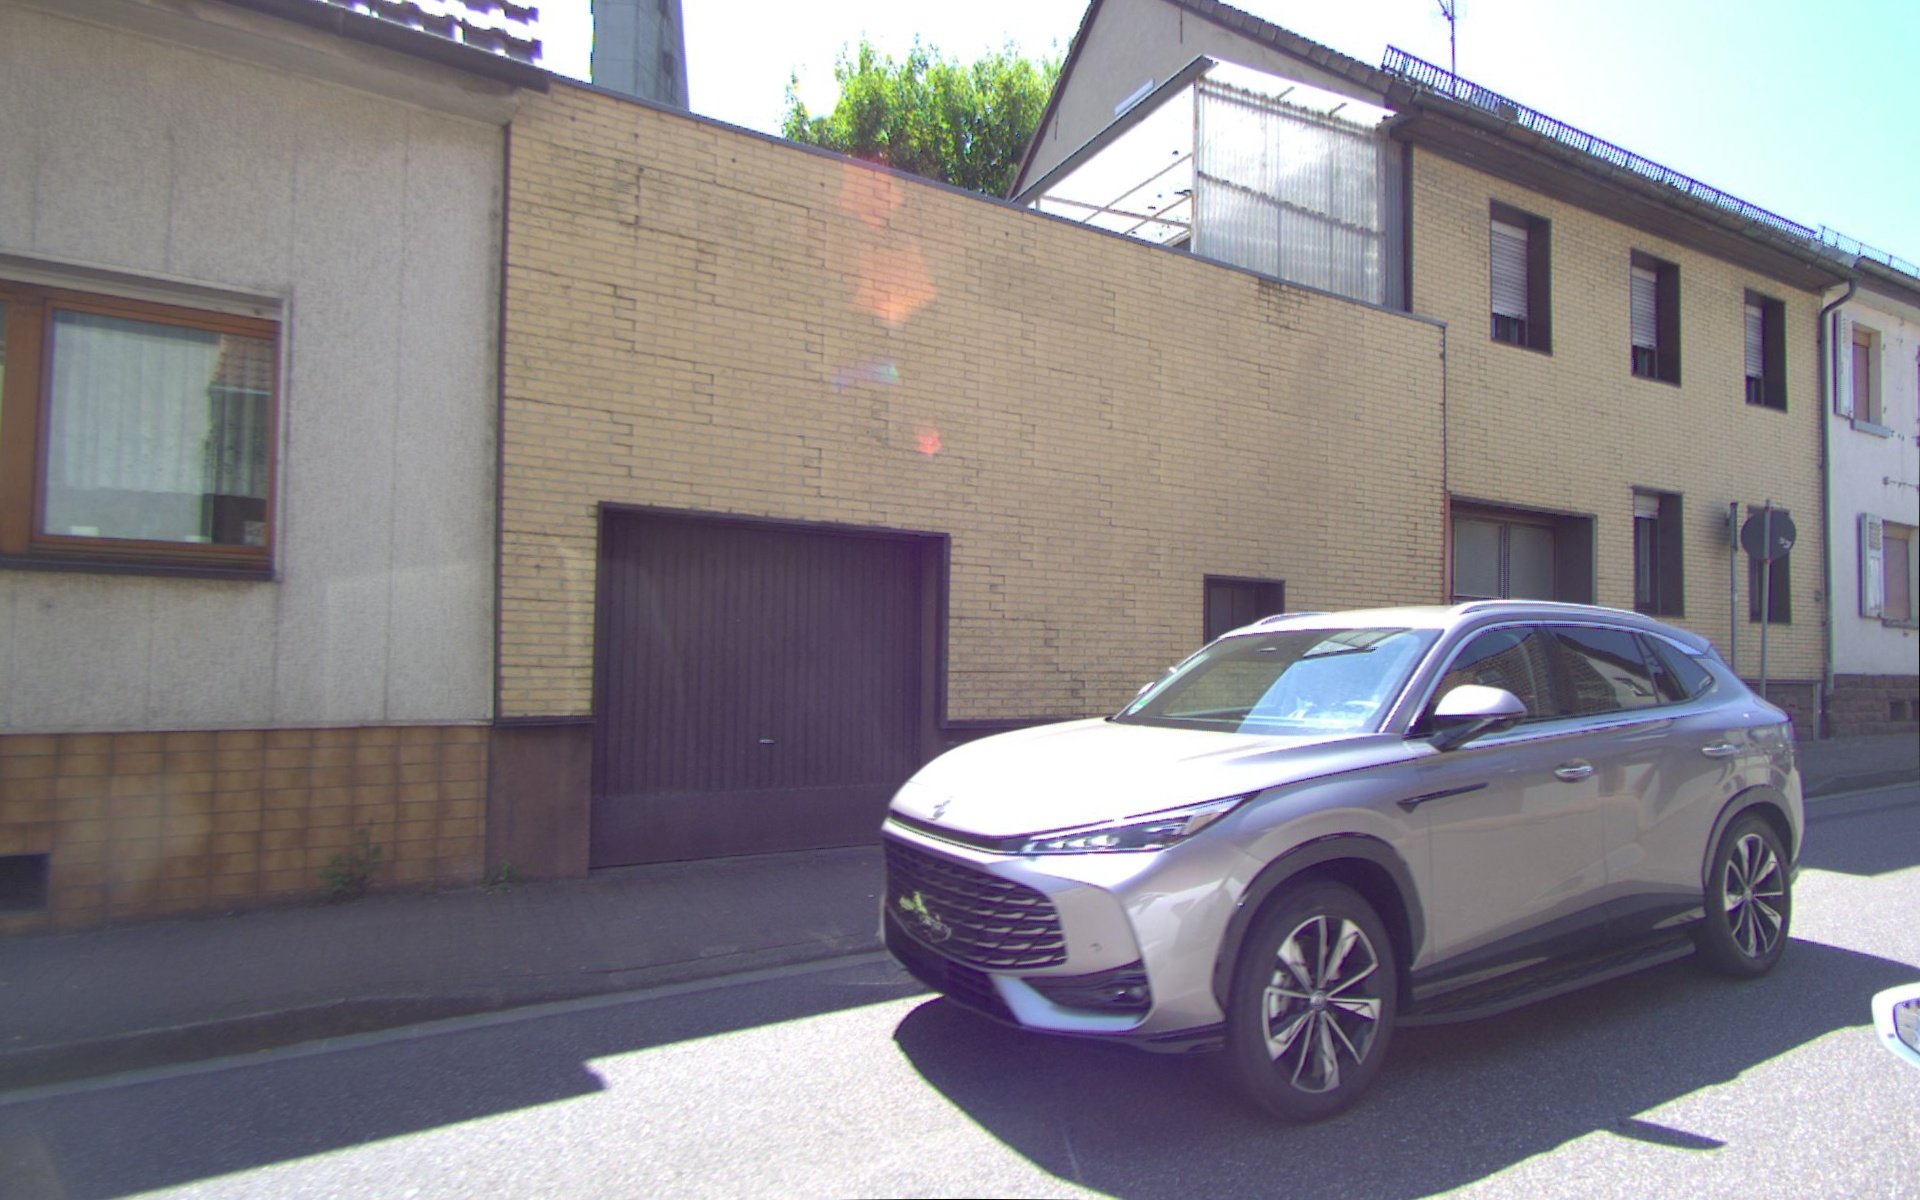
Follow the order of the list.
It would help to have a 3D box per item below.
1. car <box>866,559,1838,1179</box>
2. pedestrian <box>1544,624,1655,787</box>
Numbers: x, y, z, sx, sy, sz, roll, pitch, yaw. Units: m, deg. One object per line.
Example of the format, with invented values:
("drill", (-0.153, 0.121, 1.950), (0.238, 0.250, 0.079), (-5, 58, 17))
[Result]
("car", (1.871, 0.791, 4.517), (4.209, 1.643, 1.821), (2, -2, -29))
("pedestrian", (6.570, 1.051, 10.333), (0.745, 1.585, 0.659), (1, 0, -27))
